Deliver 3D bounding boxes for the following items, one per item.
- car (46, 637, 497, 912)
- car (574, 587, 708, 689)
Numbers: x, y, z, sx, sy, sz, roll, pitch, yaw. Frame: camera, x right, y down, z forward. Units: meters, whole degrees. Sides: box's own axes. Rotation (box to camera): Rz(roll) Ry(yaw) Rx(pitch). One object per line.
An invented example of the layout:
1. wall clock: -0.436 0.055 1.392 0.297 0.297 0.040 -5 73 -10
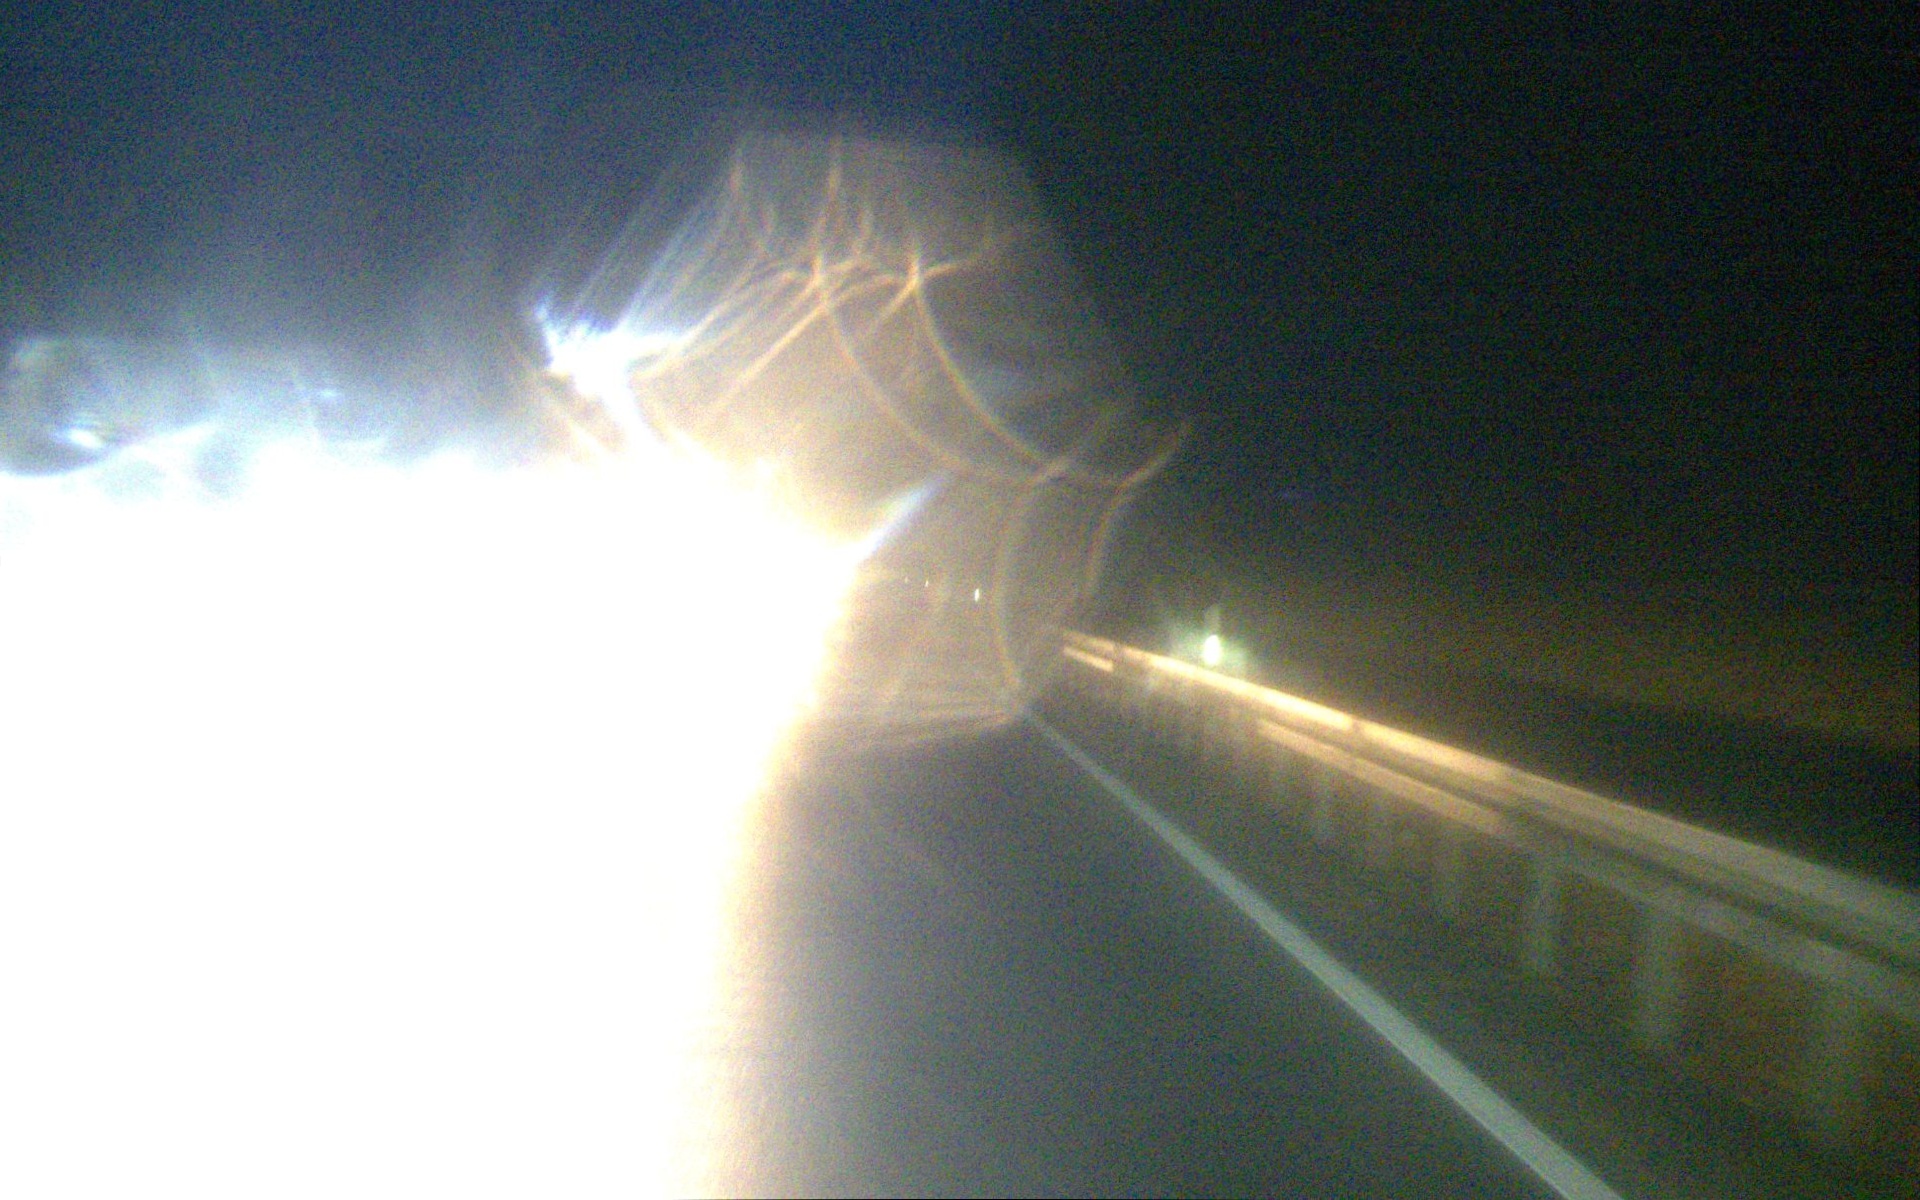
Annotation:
1. car: -3.791 0.915 19.627 1.805 1.334 4.189 1 0 -1
2. car: -5.049 0.582 54.931 1.834 1.539 4.646 1 0 -2
